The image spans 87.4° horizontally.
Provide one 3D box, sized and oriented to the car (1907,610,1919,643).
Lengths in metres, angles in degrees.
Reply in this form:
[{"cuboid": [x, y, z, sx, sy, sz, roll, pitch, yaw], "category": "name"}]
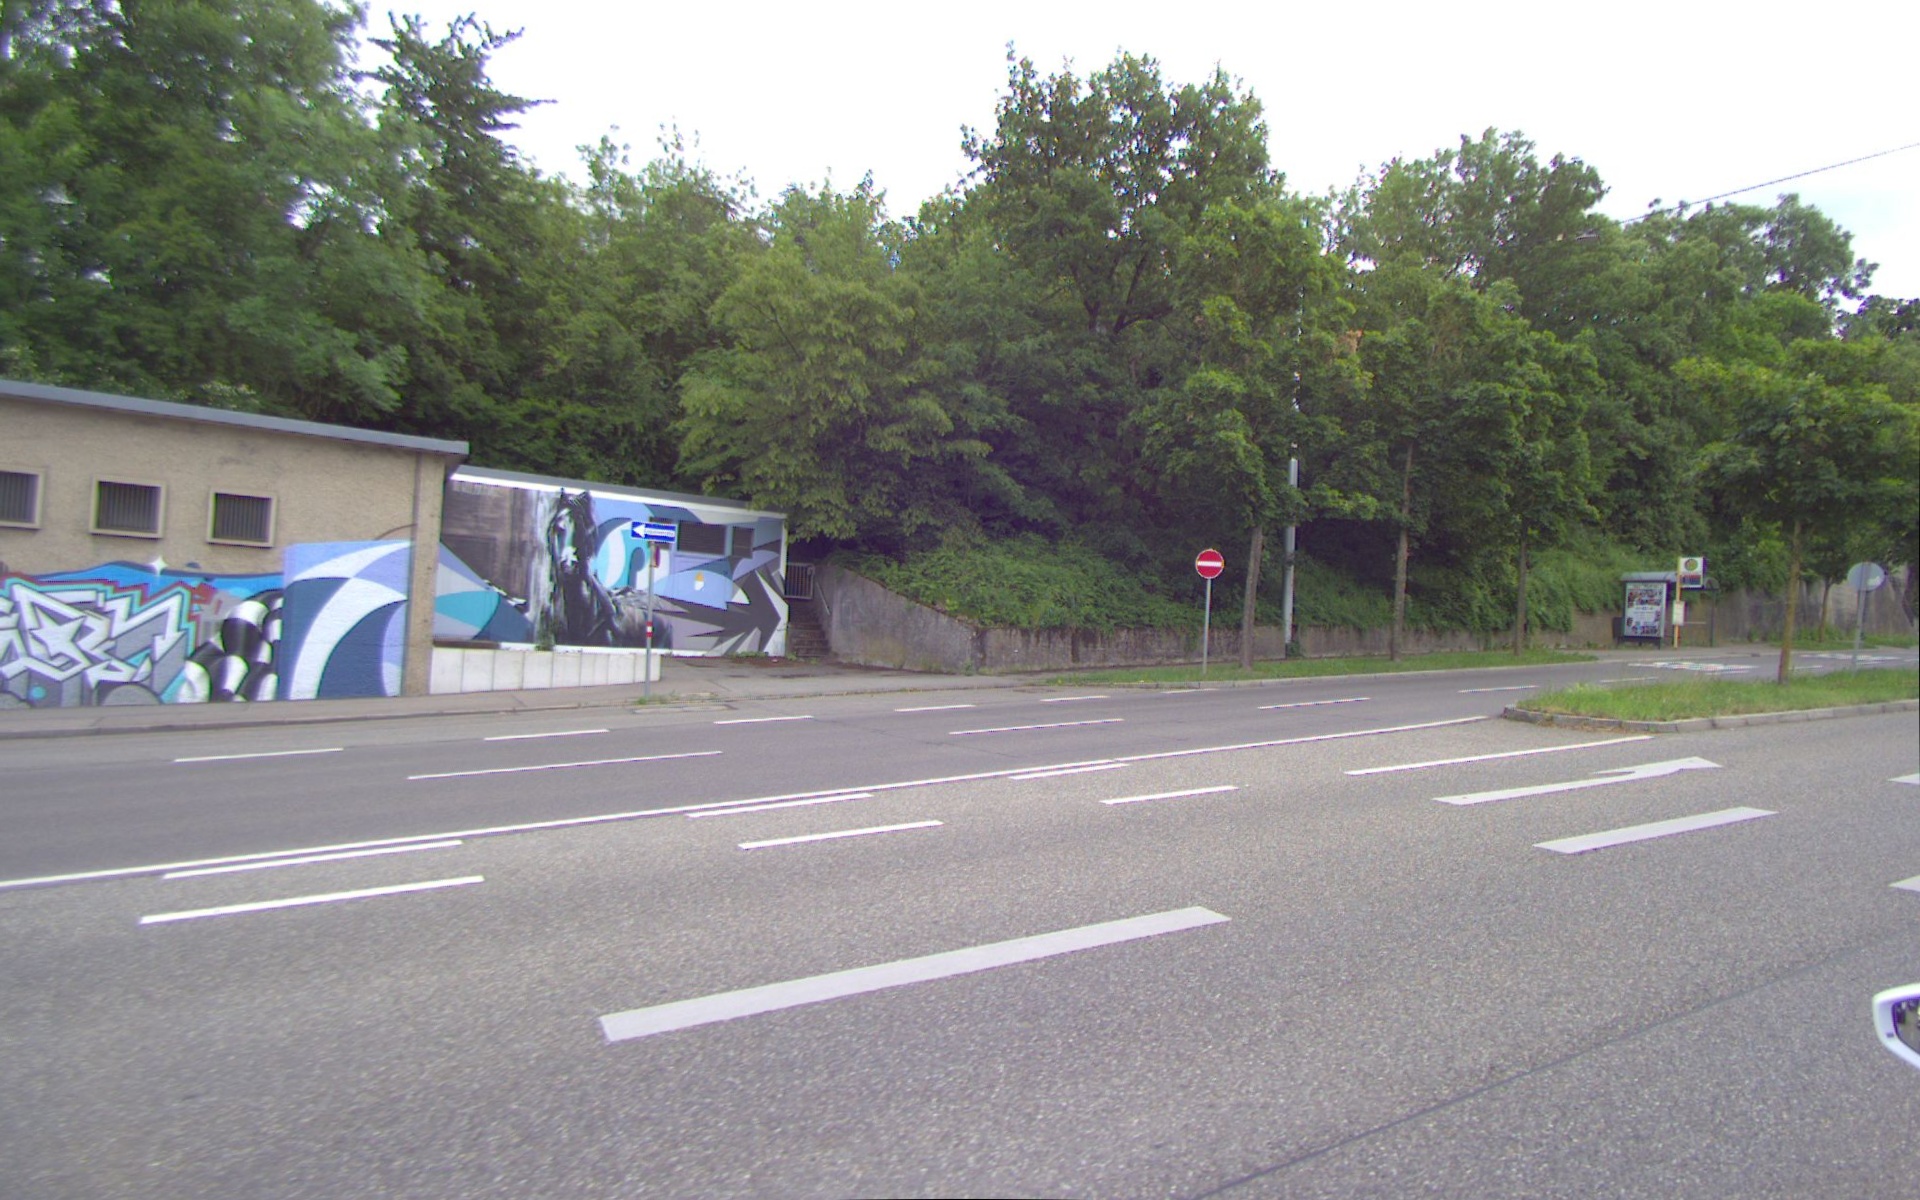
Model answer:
[{"cuboid": [52.404, 1.431, 53.512, 4.233, 1.693, 1.849, 0, 2, -33], "category": "car"}]
